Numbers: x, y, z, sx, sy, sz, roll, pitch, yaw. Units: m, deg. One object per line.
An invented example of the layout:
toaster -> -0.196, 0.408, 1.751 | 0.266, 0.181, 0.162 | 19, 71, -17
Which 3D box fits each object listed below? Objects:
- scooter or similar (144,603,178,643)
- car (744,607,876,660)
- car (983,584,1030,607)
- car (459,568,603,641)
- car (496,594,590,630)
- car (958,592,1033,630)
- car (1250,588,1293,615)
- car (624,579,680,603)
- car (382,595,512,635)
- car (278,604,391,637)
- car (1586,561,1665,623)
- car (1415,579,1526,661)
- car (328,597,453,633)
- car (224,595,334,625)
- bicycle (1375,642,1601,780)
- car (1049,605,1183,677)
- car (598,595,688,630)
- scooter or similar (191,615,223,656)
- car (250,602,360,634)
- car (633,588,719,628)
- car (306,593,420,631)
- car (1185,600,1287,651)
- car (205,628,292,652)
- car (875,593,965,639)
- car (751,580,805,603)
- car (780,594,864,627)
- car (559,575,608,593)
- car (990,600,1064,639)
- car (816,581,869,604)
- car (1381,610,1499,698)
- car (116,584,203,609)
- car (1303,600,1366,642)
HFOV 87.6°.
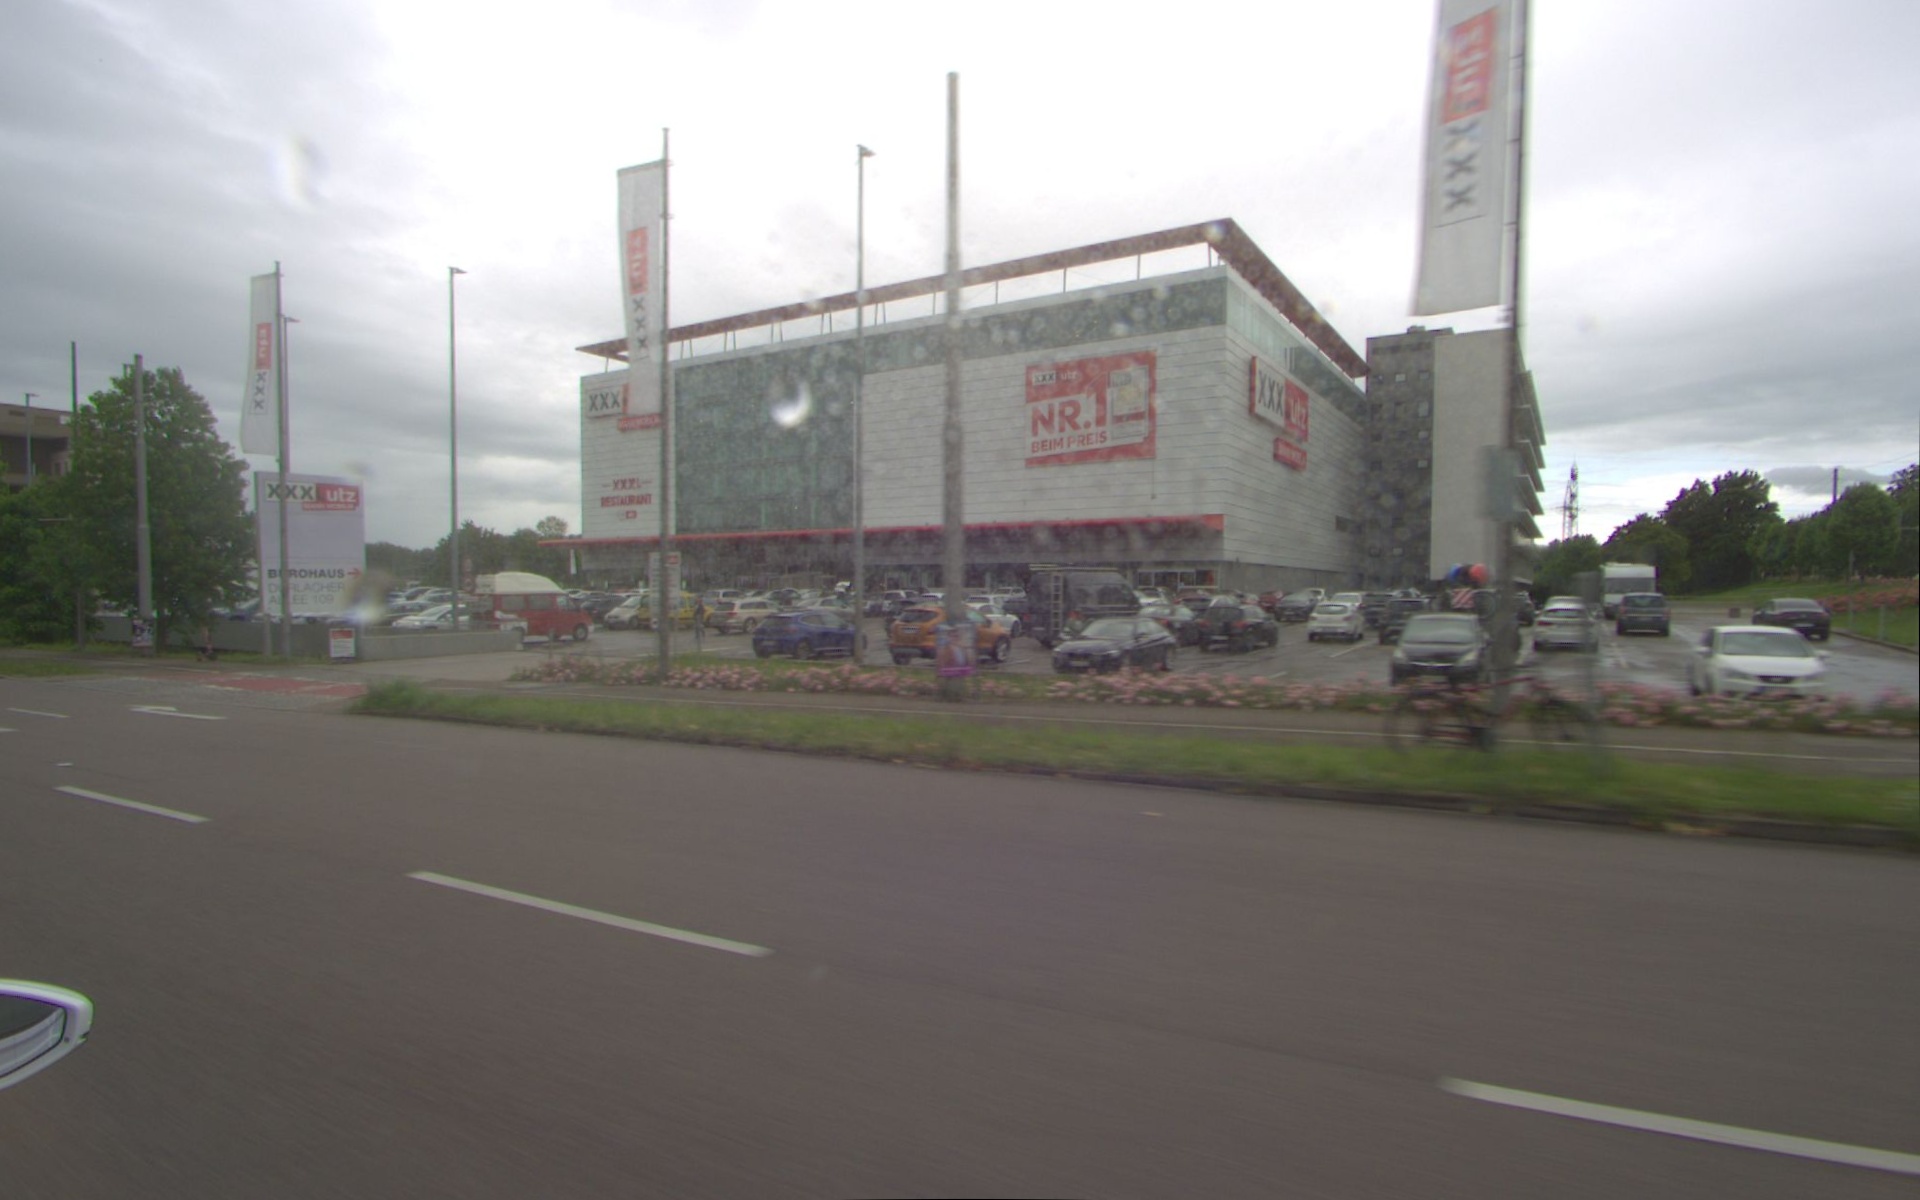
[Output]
scooter or similar -> -29.164, 0.826, 36.555 | 1.798, 1.440, 0.647 | 0, 1, 42
car -> -4.490, 0.953, 30.406 | 1.789, 1.474, 3.977 | 0, 0, 33
car -> 3.484, -0.341, 74.369 | 1.803, 1.575, 3.785 | 3, 1, 32
car -> -16.518, 0.156, 38.792 | 2.139, 2.614, 4.711 | 3, 2, 34
car -> -22.055, 0.637, 53.115 | 1.863, 1.767, 4.300 | 3, 1, 35
car -> 1.656, 0.485, 45.298 | 1.669, 1.602, 3.886 | 1, 1, 33
car -> 19.557, 0.078, 62.799 | 1.627, 1.581, 3.594 | 2, 2, 33
car -> -22.004, -0.620, 71.629 | 1.717, 1.608, 3.556 | 0, 0, 37
car -> -20.882, 0.570, 40.928 | 1.933, 1.481, 4.363 | 3, 1, 34
car -> -28.788, 0.924, 46.198 | 1.807, 1.368, 4.047 | 3, 1, 31
car -> 35.395, -0.420, 53.459 | 2.725, 3.030, 6.921 | 3, 1, 28
car -> 15.170, 0.510, 29.599 | 2.095, 2.194, 5.016 | 0, 1, 37
car -> -24.860, 0.625, 43.850 | 1.840, 1.438, 4.454 | 3, 1, 34
car -> -33.533, 0.460, 49.437 | 1.783, 1.368, 4.145 | 3, 1, 31
bicycle -> 4.610, 0.923, 8.802 | 1.671, 1.062, 0.660 | -1, 0, 39
car -> 3.971, 0.929, 24.879 | 1.743, 1.604, 4.519 | 0, 0, 31
car -> -15.597, 0.583, 49.461 | 1.852, 1.617, 3.977 | 3, 1, 33
scooter or similar -> -23.293, 1.094, 30.982 | 1.230, 1.207, 0.369 | 1, 2, 33
car -> -31.126, 0.822, 47.671 | 1.737, 1.368, 4.047 | 3, 1, 31
car -> -13.567, 0.348, 47.988 | 1.709, 1.792, 3.727 | 3, 1, 34
car -> -26.710, 0.530, 44.933 | 1.739, 1.561, 4.044 | 3, 1, 34
car -> 9.209, 0.795, 33.212 | 1.923, 1.576, 3.971 | 0, 0, 38
car -> -43.825, 2.453, 61.789 | 1.738, 1.368, 4.048 | 0, 0, 31
car -> -1.535, 0.585, 40.126 | 1.804, 1.677, 3.883 | 1, 2, 31
car -> -13.134, -0.612, 72.400 | 1.717, 1.575, 3.763 | 3, 1, 32
car -> -6.764, 0.504, 49.356 | 1.715, 1.489, 4.228 | 3, 1, 34
car -> -32.337, -1.376, 86.015 | 1.678, 1.395, 3.583 | 3, 1, 35
car -> 2.903, 0.797, 42.816 | 1.634, 1.576, 3.658 | 0, 0, 33
car -> -8.359, -0.525, 71.446 | 1.803, 1.575, 3.785 | 3, 1, 32
car -> 10.265, 1.056, 21.249 | 1.744, 1.604, 4.083 | 2, 1, 33
car -> -45.269, -0.208, 56.684 | 1.580, 1.325, 3.511 | 2, 1, 27
car -> 14.025, 0.747, 37.391 | 1.803, 1.487, 3.889 | 0, 0, 27
